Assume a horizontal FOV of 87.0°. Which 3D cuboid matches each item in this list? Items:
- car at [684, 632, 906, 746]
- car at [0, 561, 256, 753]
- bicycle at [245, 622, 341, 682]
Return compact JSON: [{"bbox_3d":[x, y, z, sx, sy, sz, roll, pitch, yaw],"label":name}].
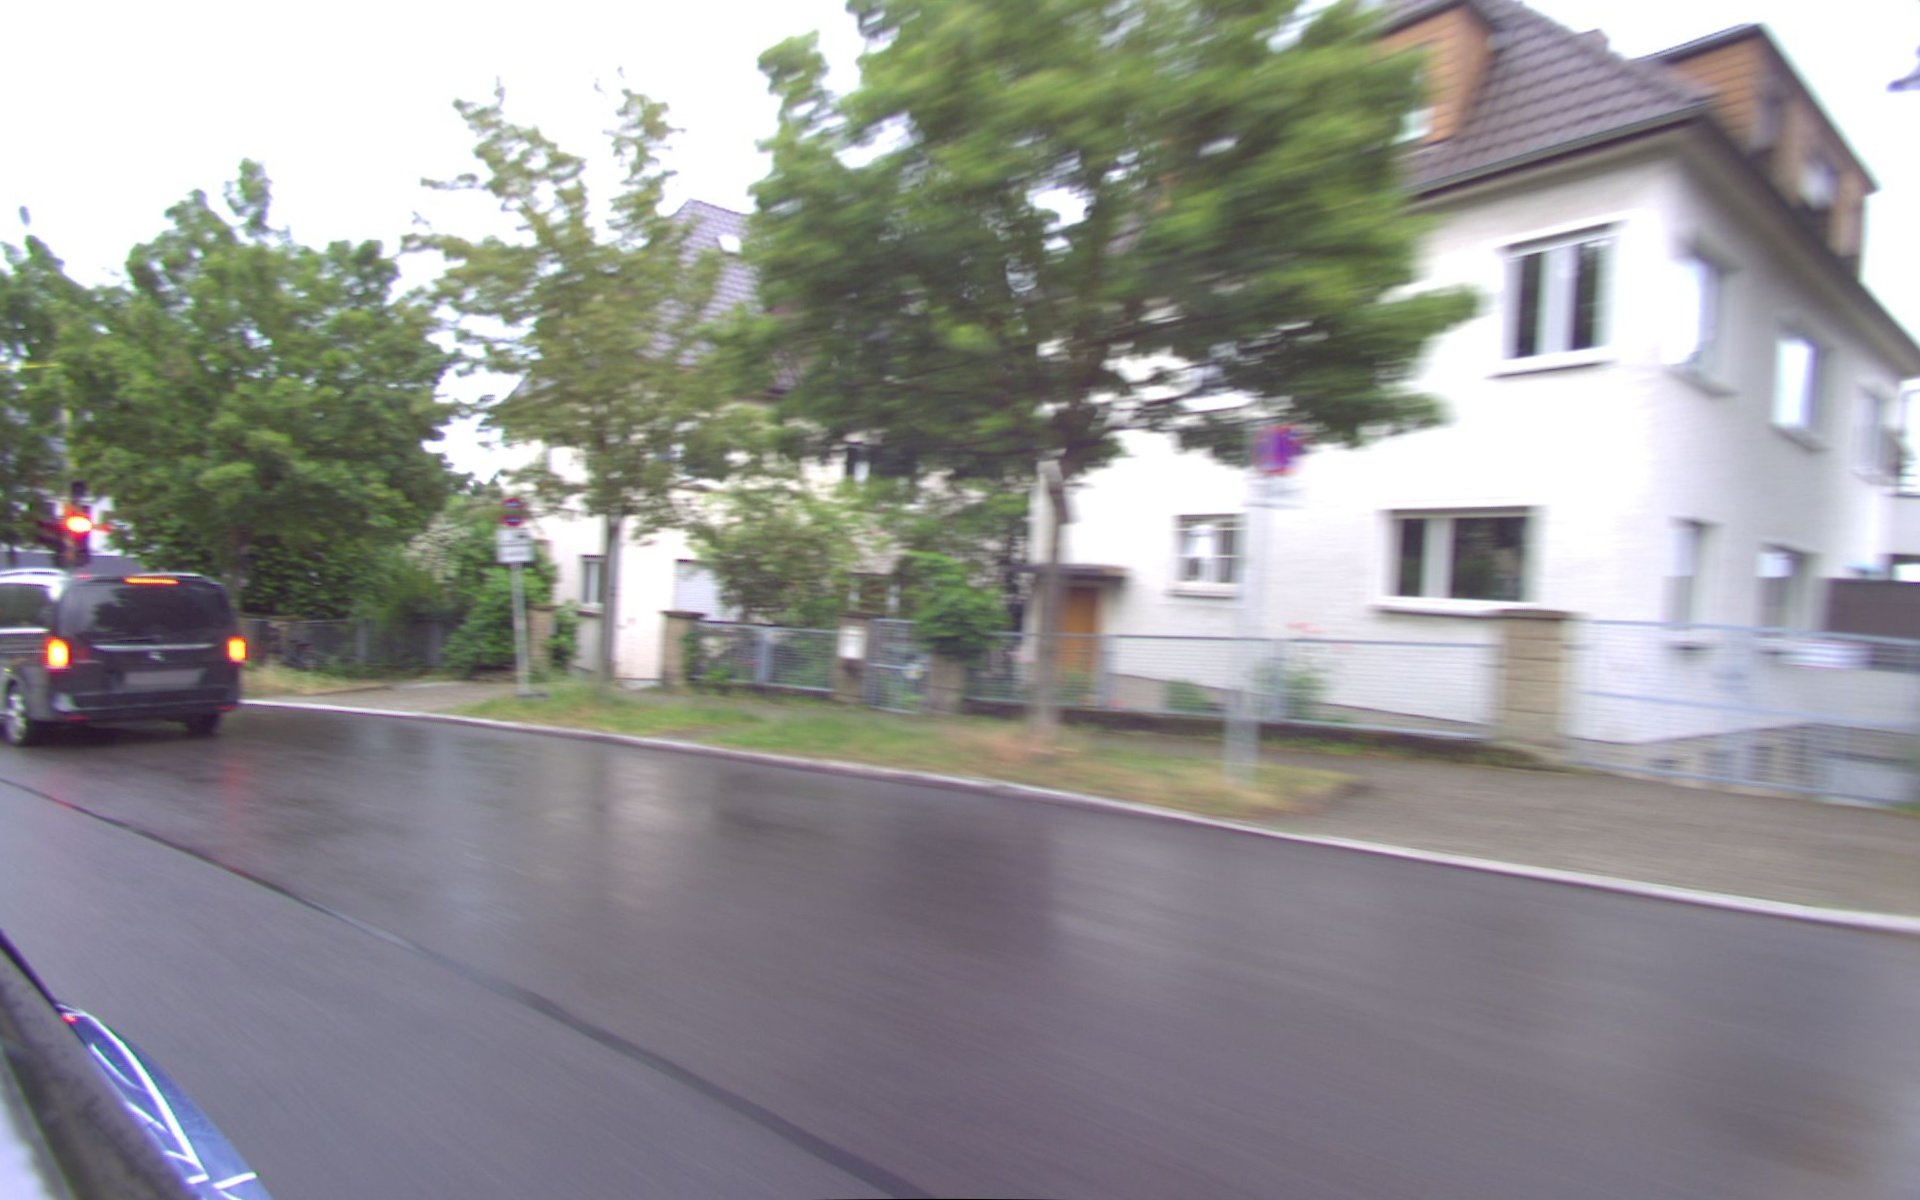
[{"bbox_3d":[-3.387,1.865,21.078,3.938,1.595,1.860,16,-10,-34],"label":"car"},{"bbox_3d":[-10.848,0.620,12.238,5.135,1.904,1.882,0,-3,32],"label":"car"},{"bbox_3d":[-14.809,1.149,22.464,2.254,1.281,0.489,-1,0,18],"label":"bicycle"}]
